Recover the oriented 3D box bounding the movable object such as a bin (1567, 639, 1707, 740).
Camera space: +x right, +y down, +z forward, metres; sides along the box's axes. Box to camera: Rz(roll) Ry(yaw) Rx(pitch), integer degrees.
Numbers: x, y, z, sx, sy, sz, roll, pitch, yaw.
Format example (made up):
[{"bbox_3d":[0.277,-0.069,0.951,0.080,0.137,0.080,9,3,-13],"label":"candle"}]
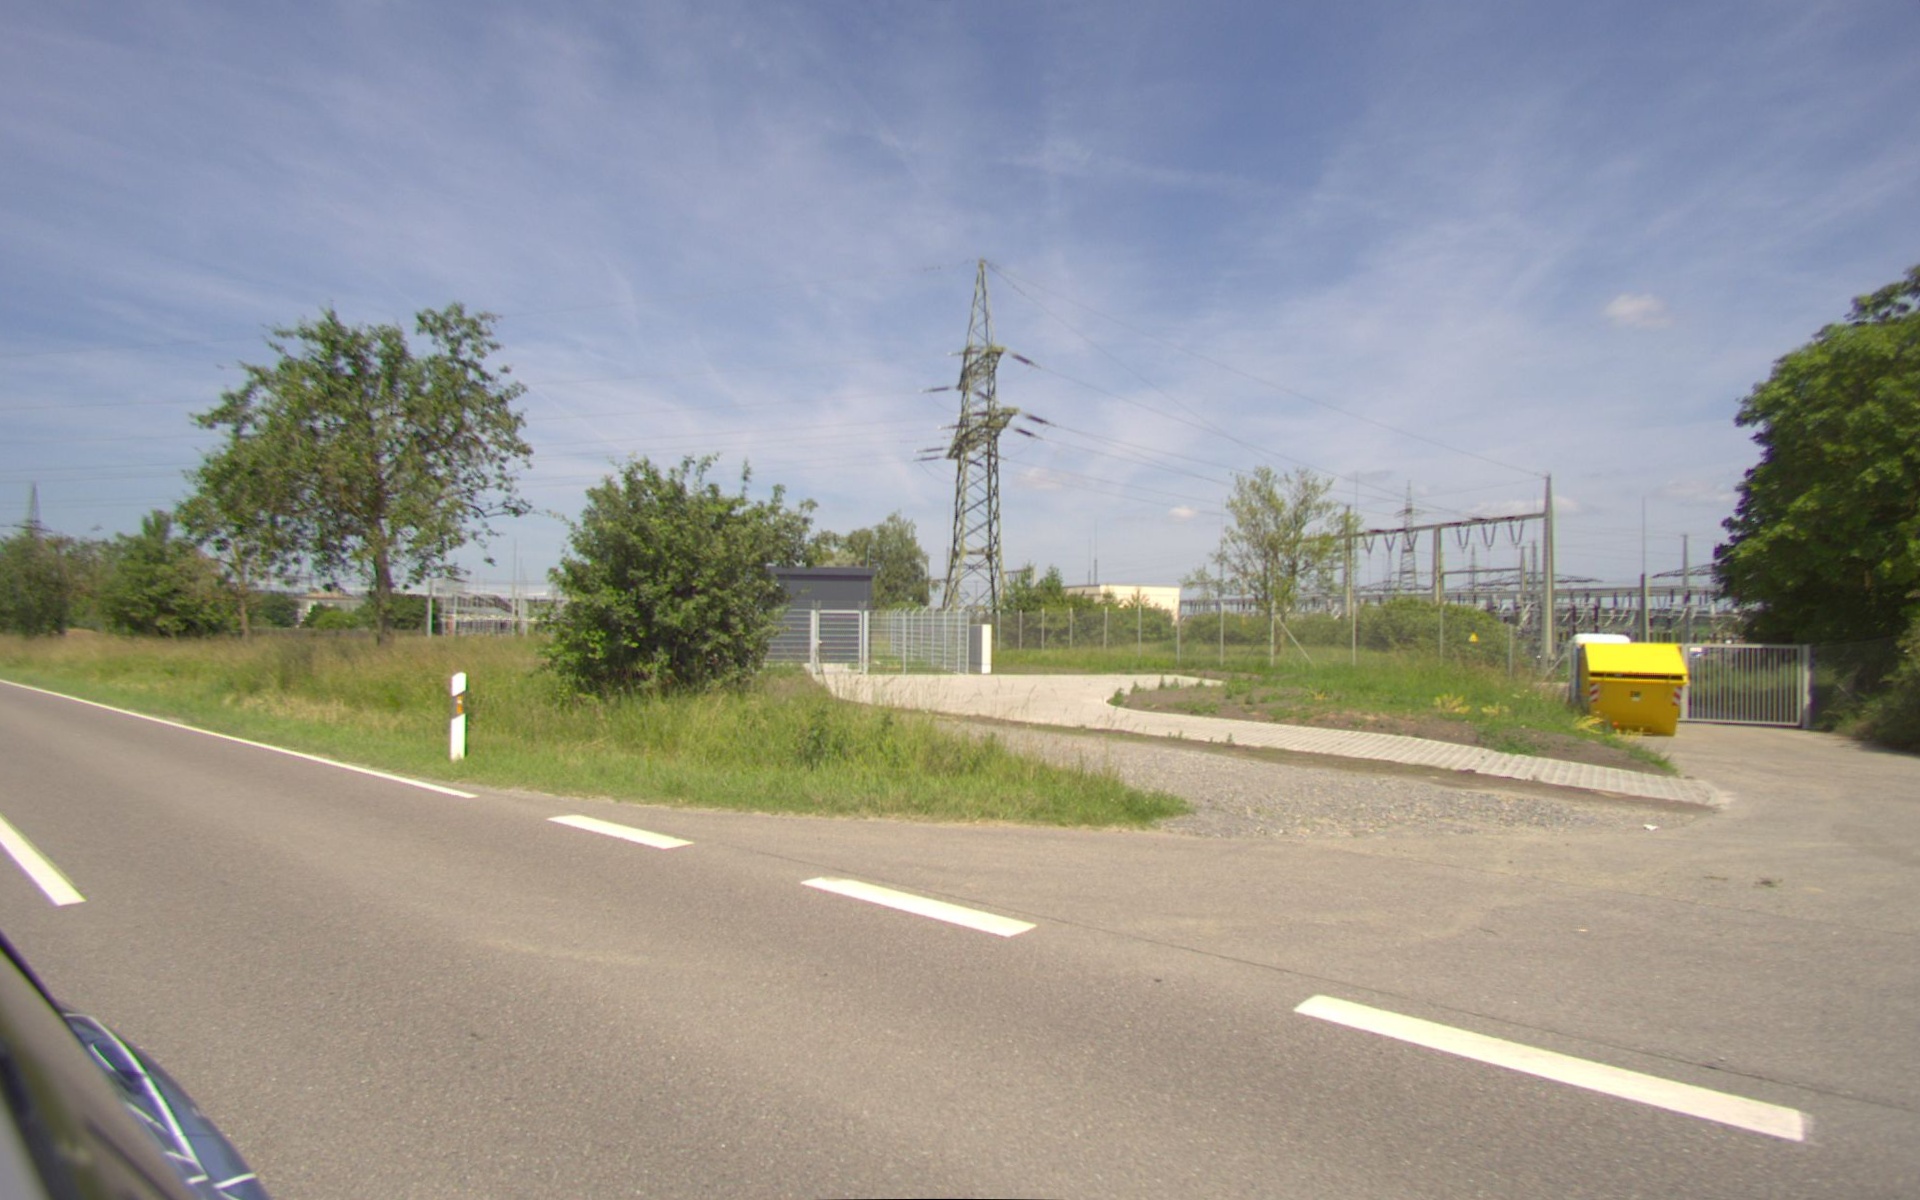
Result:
[{"bbox_3d":[15.568,1.968,23.509,2.162,1.929,4.252,-1,0,27],"label":"movable object such as a bin"}]
